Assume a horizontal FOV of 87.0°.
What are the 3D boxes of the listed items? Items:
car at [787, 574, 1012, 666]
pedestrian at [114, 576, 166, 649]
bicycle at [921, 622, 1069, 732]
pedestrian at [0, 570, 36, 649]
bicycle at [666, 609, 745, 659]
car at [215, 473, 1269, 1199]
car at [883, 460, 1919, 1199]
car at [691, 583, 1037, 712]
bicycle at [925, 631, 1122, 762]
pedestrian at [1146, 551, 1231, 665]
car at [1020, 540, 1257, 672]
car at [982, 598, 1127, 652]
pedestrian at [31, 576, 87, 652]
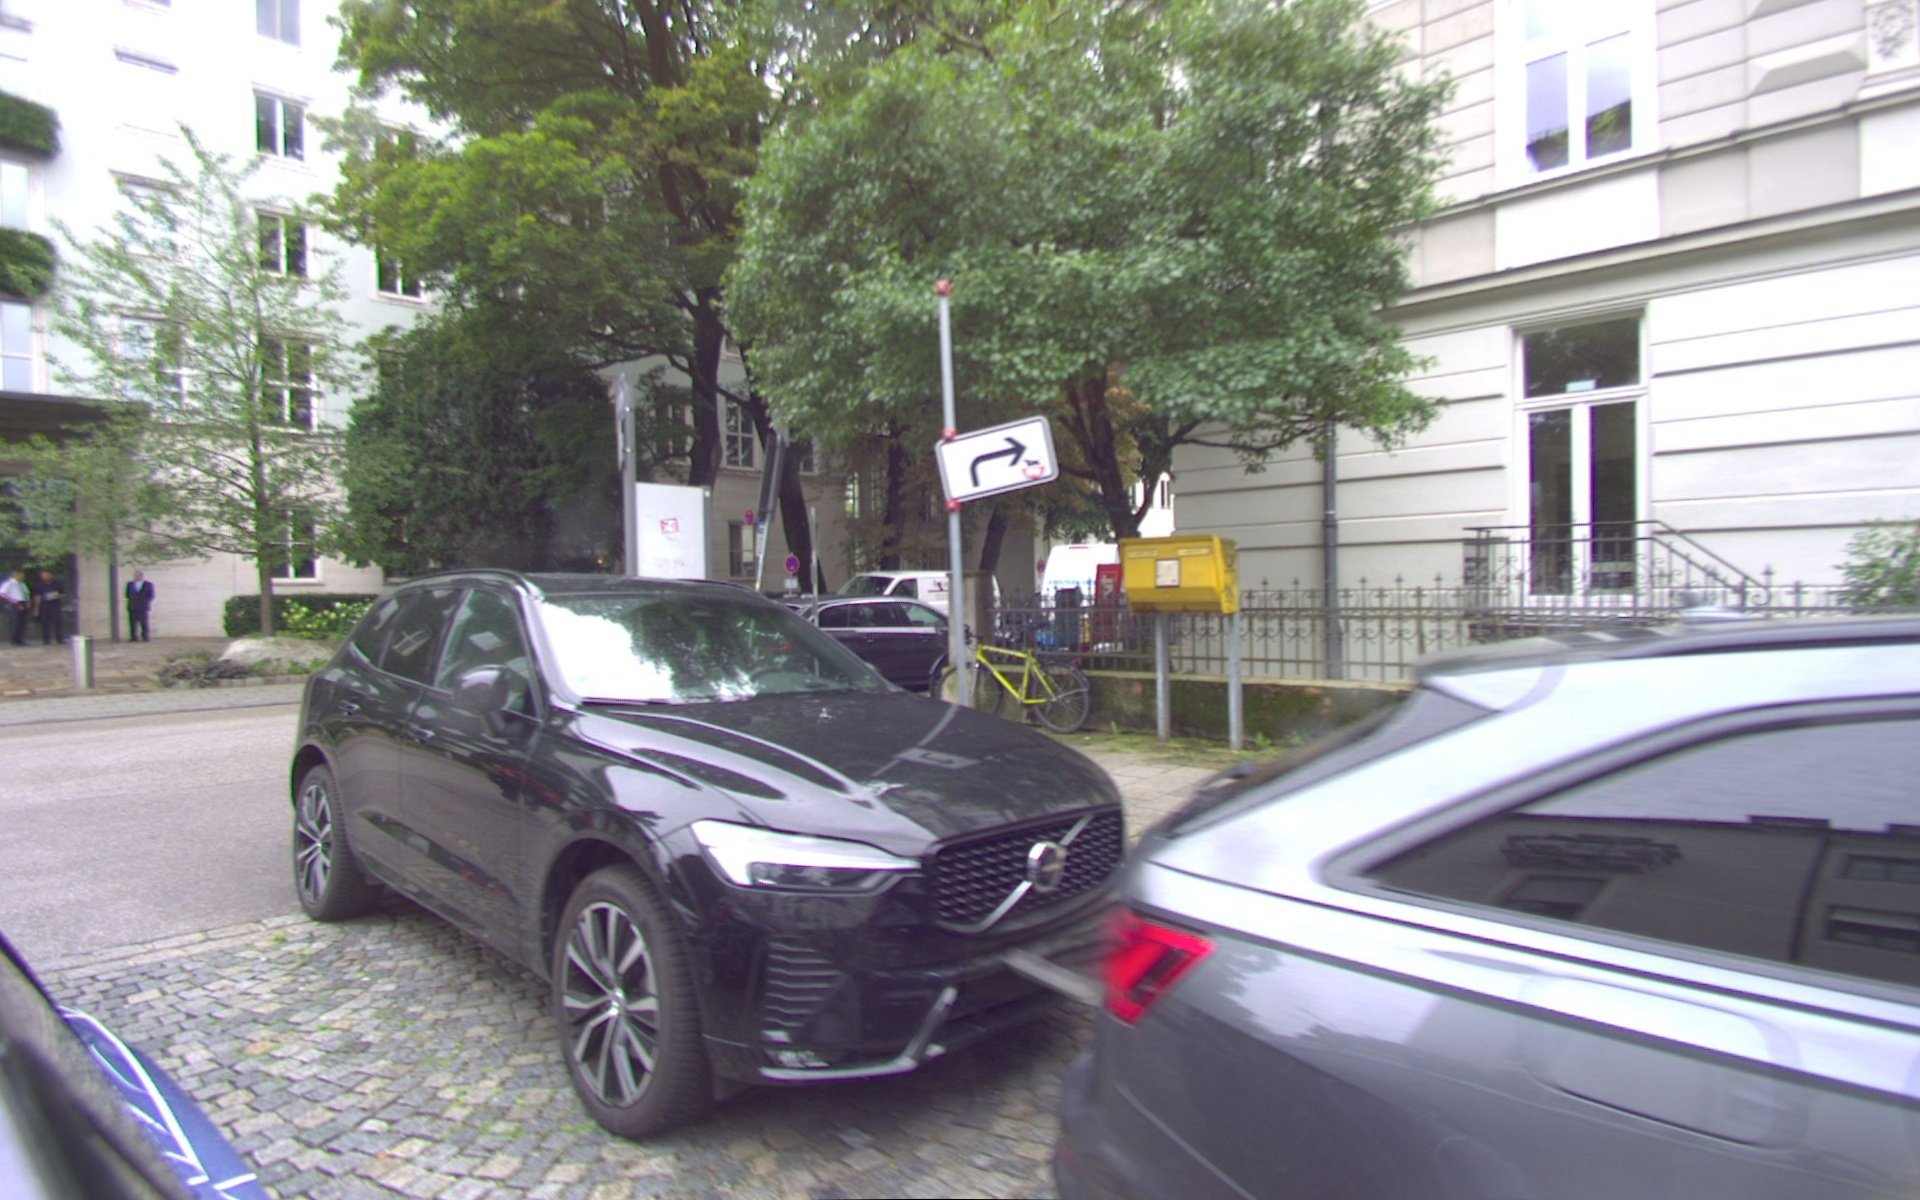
[{"bbox_3d":[-1.307,0.373,24.295,2.255,1.971,5.378,1,1,42],"label":"car"},{"bbox_3d":[-20.358,0.318,25.125,0.752,1.766,0.889,-1,-1,40],"label":"pedestrian"},{"bbox_3d":[0.428,0.810,11.218,1.862,1.036,0.431,-3,1,-44],"label":"bicycle"},{"bbox_3d":[-21.857,0.217,23.311,0.901,1.766,0.742,-1,0,42],"label":"pedestrian"},{"bbox_3d":[-5.977,0.782,23.829,1.740,1.111,0.635,-1,1,-43],"label":"bicycle"},{"bbox_3d":[-1.461,0.642,4.412,5.054,1.665,1.916,-1,-3,43],"label":"car"},{"bbox_3d":[2.399,0.626,0.797,5.174,1.516,1.786,-2,-3,41],"label":"car"},{"bbox_3d":[-1.265,0.587,14.651,4.518,1.558,2.282,-1,-1,-43],"label":"car"},{"bbox_3d":[0.529,0.826,9.262,0.548,1.036,1.931,-3,1,-42],"label":"bicycle"},{"bbox_3d":[3.569,0.125,15.808,0.961,1.702,0.861,-1,-1,-43],"label":"pedestrian"},{"bbox_3d":[3.558,0.121,19.525,2.211,2.225,4.786,-3,-1,43],"label":"car"},{"bbox_3d":[2.709,0.648,28.536,2.219,1.339,3.893,1,1,42],"label":"car"},{"bbox_3d":[-21.358,0.334,23.994,0.752,1.766,0.889,-1,-1,40],"label":"pedestrian"}]
